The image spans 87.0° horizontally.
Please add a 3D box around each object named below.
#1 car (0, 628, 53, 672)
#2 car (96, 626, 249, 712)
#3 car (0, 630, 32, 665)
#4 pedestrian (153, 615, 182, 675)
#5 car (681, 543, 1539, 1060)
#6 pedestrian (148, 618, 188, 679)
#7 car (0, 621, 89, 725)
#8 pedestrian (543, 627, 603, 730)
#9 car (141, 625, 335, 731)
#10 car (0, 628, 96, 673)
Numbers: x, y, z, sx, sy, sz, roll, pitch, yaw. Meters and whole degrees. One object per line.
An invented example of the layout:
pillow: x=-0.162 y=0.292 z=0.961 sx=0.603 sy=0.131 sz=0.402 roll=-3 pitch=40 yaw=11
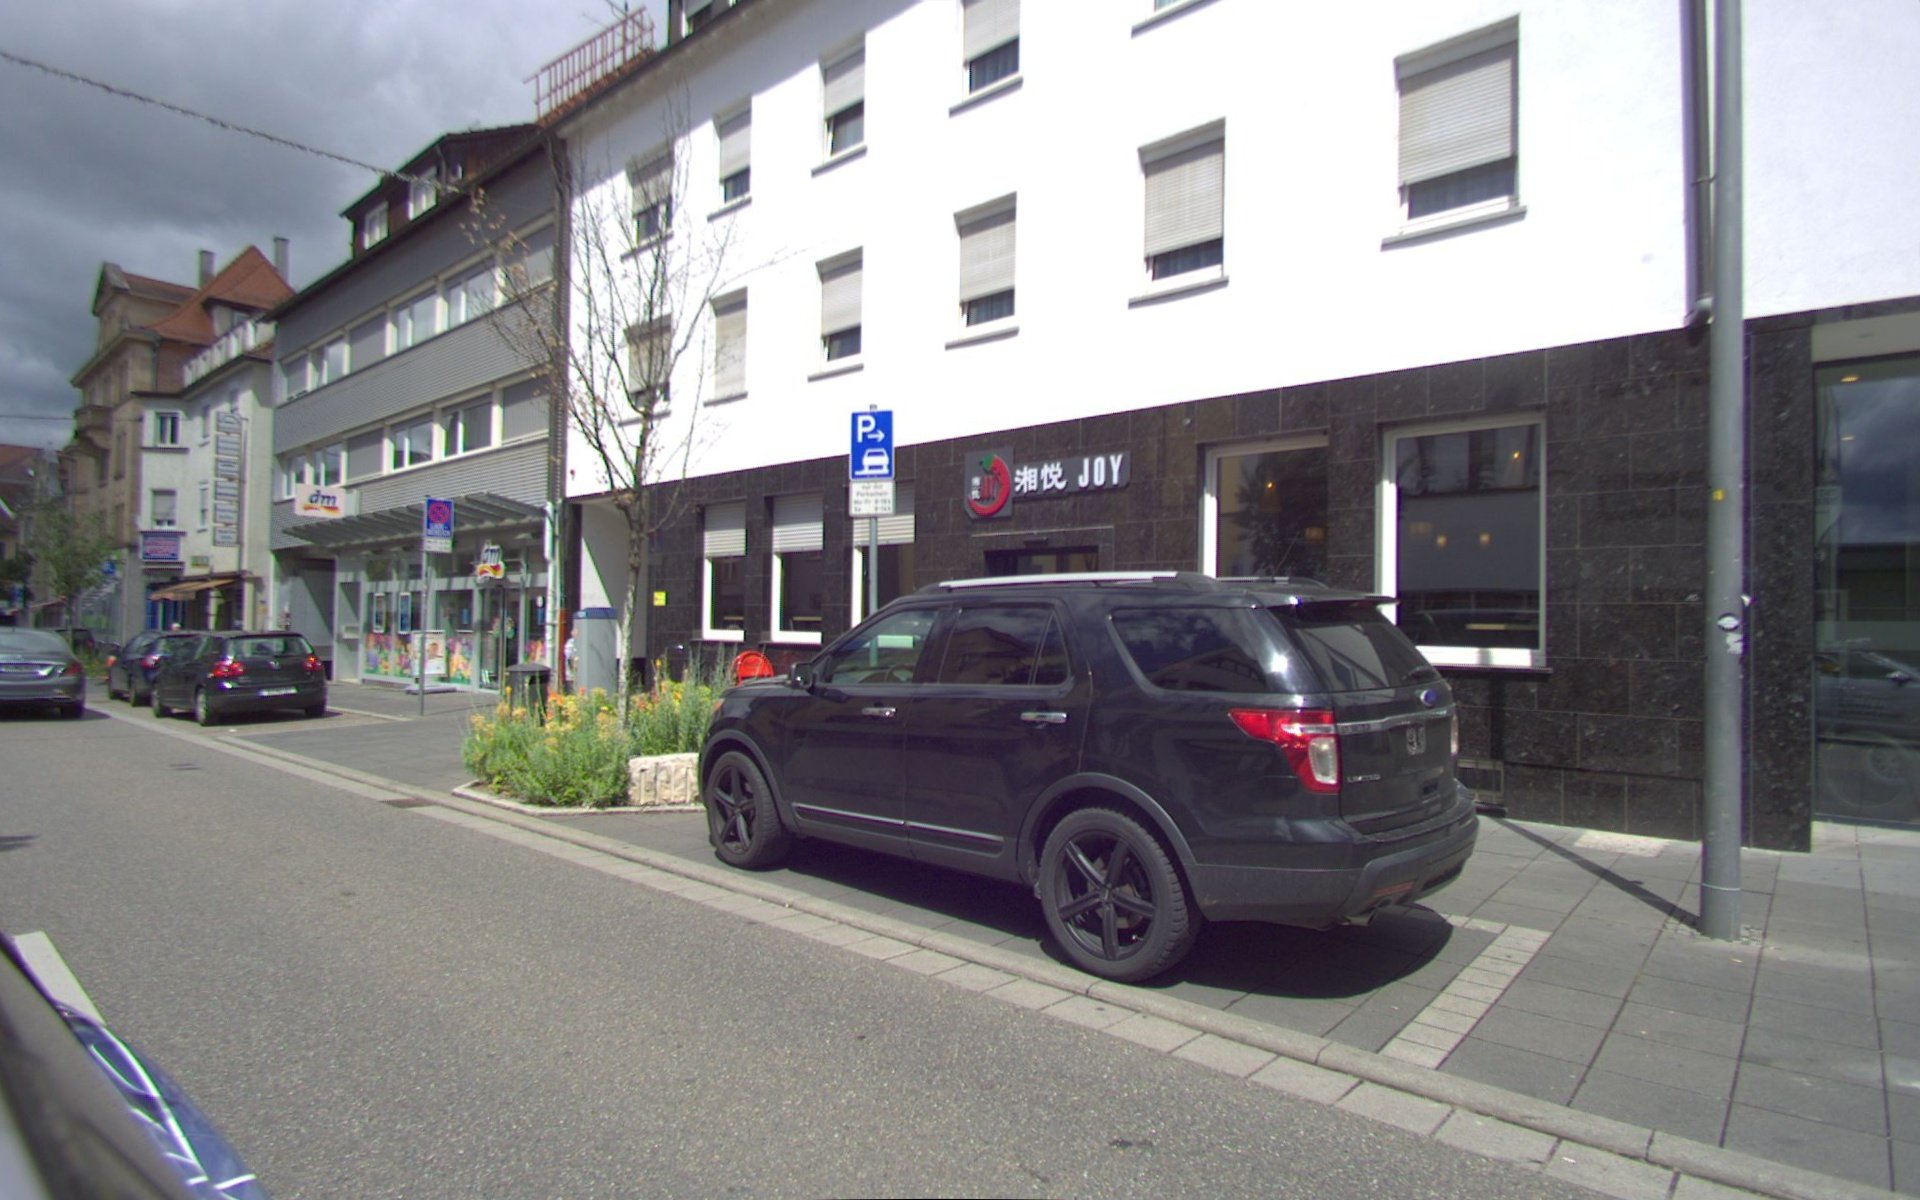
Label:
car: x=-34.472 y=1.796 z=37.026 sx=3.668 sy=1.425 sz=1.569 roll=0 pitch=0 yaw=43
car: x=-16.666 y=1.353 z=21.334 sx=4.711 sy=1.524 sz=1.771 roll=0 pitch=0 yaw=42
car: x=-42.230 y=2.082 z=44.287 sx=4.032 sy=1.408 sz=1.828 roll=0 pitch=0 yaw=39
pedestrian: x=-23.752 y=1.345 z=30.321 sx=0.728 sy=1.770 sz=0.542 roll=-1 pitch=0 yaw=38
car: x=0.430 y=0.700 z=5.748 sx=4.670 sy=1.768 sz=1.796 roll=0 pitch=0 yaw=44
pedestrian: x=-21.473 y=1.300 z=27.443 sx=0.650 sy=1.630 sz=0.724 roll=-1 pitch=0 yaw=37
car: x=-16.497 y=1.160 z=17.246 sx=4.644 sy=1.575 sz=1.885 roll=0 pitch=-2 yaw=42
pedestrian: x=-5.736 y=1.142 z=15.021 sx=0.563 sy=1.466 sz=0.647 roll=-1 pitch=0 yaw=42
car: x=-12.396 y=1.221 z=17.287 sx=4.175 sy=1.515 sz=1.772 roll=0 pitch=0 yaw=41
car: x=-30.595 y=1.664 z=33.927 sx=3.548 sy=1.457 sz=1.583 roll=-1 pitch=-2 yaw=35
